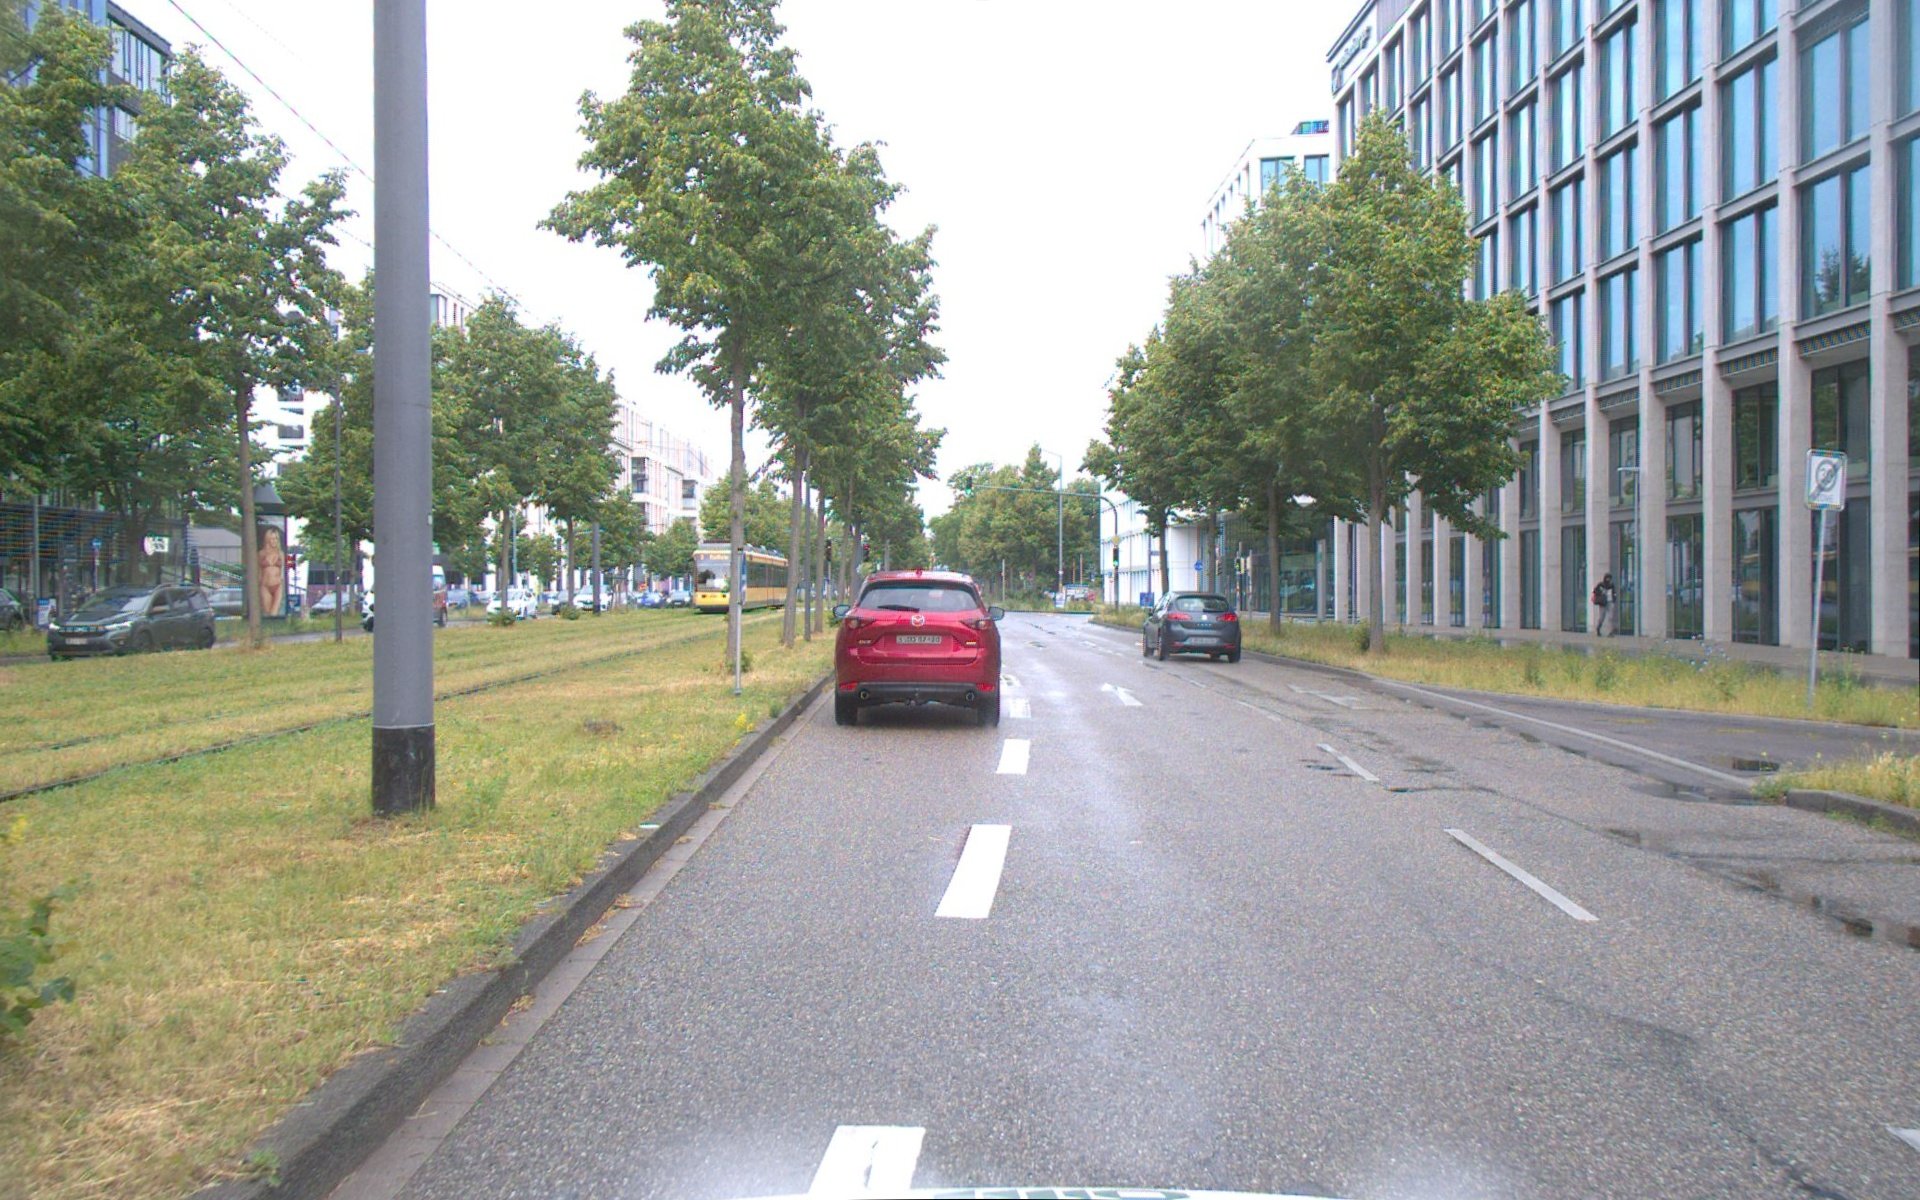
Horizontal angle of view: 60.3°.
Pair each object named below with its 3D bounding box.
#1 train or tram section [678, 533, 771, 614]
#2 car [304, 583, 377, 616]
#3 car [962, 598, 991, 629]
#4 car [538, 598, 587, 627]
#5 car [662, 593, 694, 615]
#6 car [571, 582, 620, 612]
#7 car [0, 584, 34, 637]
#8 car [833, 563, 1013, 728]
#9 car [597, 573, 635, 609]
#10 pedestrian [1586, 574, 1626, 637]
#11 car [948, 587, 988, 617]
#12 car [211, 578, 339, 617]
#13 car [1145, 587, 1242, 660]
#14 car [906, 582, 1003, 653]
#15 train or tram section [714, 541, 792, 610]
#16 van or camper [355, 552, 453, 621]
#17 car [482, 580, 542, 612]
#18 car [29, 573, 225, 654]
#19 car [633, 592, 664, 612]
[{"bbox_3d":[-11.666,-1.282,83.342,3.065,3.723,13.403,0,0,-1],"label":"train or tram section"},{"bbox_3d":[-29.577,-0.060,79.113,1.953,1.548,4.605,0,1,-3],"label":"car"},{"bbox_3d":[1.147,0.937,117.238,1.953,2.049,3.999,0,1,-1],"label":"car"},{"bbox_3d":[-22.893,0.718,95.413,1.847,1.485,3.999,3,0,-1],"label":"car"},{"bbox_3d":[-21.976,0.287,129.011,1.954,1.646,3.998,0,1,-3],"label":"car"},{"bbox_3d":[-18.311,-0.166,83.286,1.675,1.429,3.999,0,1,-1],"label":"car"},{"bbox_3d":[-28.971,0.303,47.819,1.953,1.548,4.605,0,1,-3],"label":"car"},{"bbox_3d":[-0.442,0.458,19.145,1.860,1.706,3.999,0,0,-2],"label":"car"},{"bbox_3d":[-25.144,-0.654,121.082,2.212,2.606,4.650,0,0,-5],"label":"car"},{"bbox_3d":[18.091,0.147,46.337,0.702,1.744,0.861,-2,0,-2],"label":"pedestrian"},{"bbox_3d":[0.464,0.089,87.165,1.926,1.462,4.554,1,0,2],"label":"car"},{"bbox_3d":[-27.851,-0.128,67.269,4.620,1.548,1.979,0,1,-32],"label":"car"},{"bbox_3d":[4.988,0.467,35.774,1.707,1.490,3.783,0,0,2],"label":"car"},{"bbox_3d":[-0.060,0.358,36.753,1.918,1.490,3.783,0,0,3],"label":"car"},{"bbox_3d":[-12.024,-1.395,97.609,3.065,3.723,15.060,0,0,-1],"label":"train or tram section"},{"bbox_3d":[-20.602,-0.502,61.533,1.870,2.453,5.401,0,0,-1],"label":"van or camper"},{"bbox_3d":[-21.326,-0.204,78.868,1.846,1.485,3.999,0,1,-1],"label":"car"},{"bbox_3d":[-17.036,0.237,34.098,1.825,1.551,4.478,0,0,-1],"label":"car"},{"bbox_3d":[-25.519,0.150,135.680,1.954,1.646,3.998,0,1,-3],"label":"car"}]
